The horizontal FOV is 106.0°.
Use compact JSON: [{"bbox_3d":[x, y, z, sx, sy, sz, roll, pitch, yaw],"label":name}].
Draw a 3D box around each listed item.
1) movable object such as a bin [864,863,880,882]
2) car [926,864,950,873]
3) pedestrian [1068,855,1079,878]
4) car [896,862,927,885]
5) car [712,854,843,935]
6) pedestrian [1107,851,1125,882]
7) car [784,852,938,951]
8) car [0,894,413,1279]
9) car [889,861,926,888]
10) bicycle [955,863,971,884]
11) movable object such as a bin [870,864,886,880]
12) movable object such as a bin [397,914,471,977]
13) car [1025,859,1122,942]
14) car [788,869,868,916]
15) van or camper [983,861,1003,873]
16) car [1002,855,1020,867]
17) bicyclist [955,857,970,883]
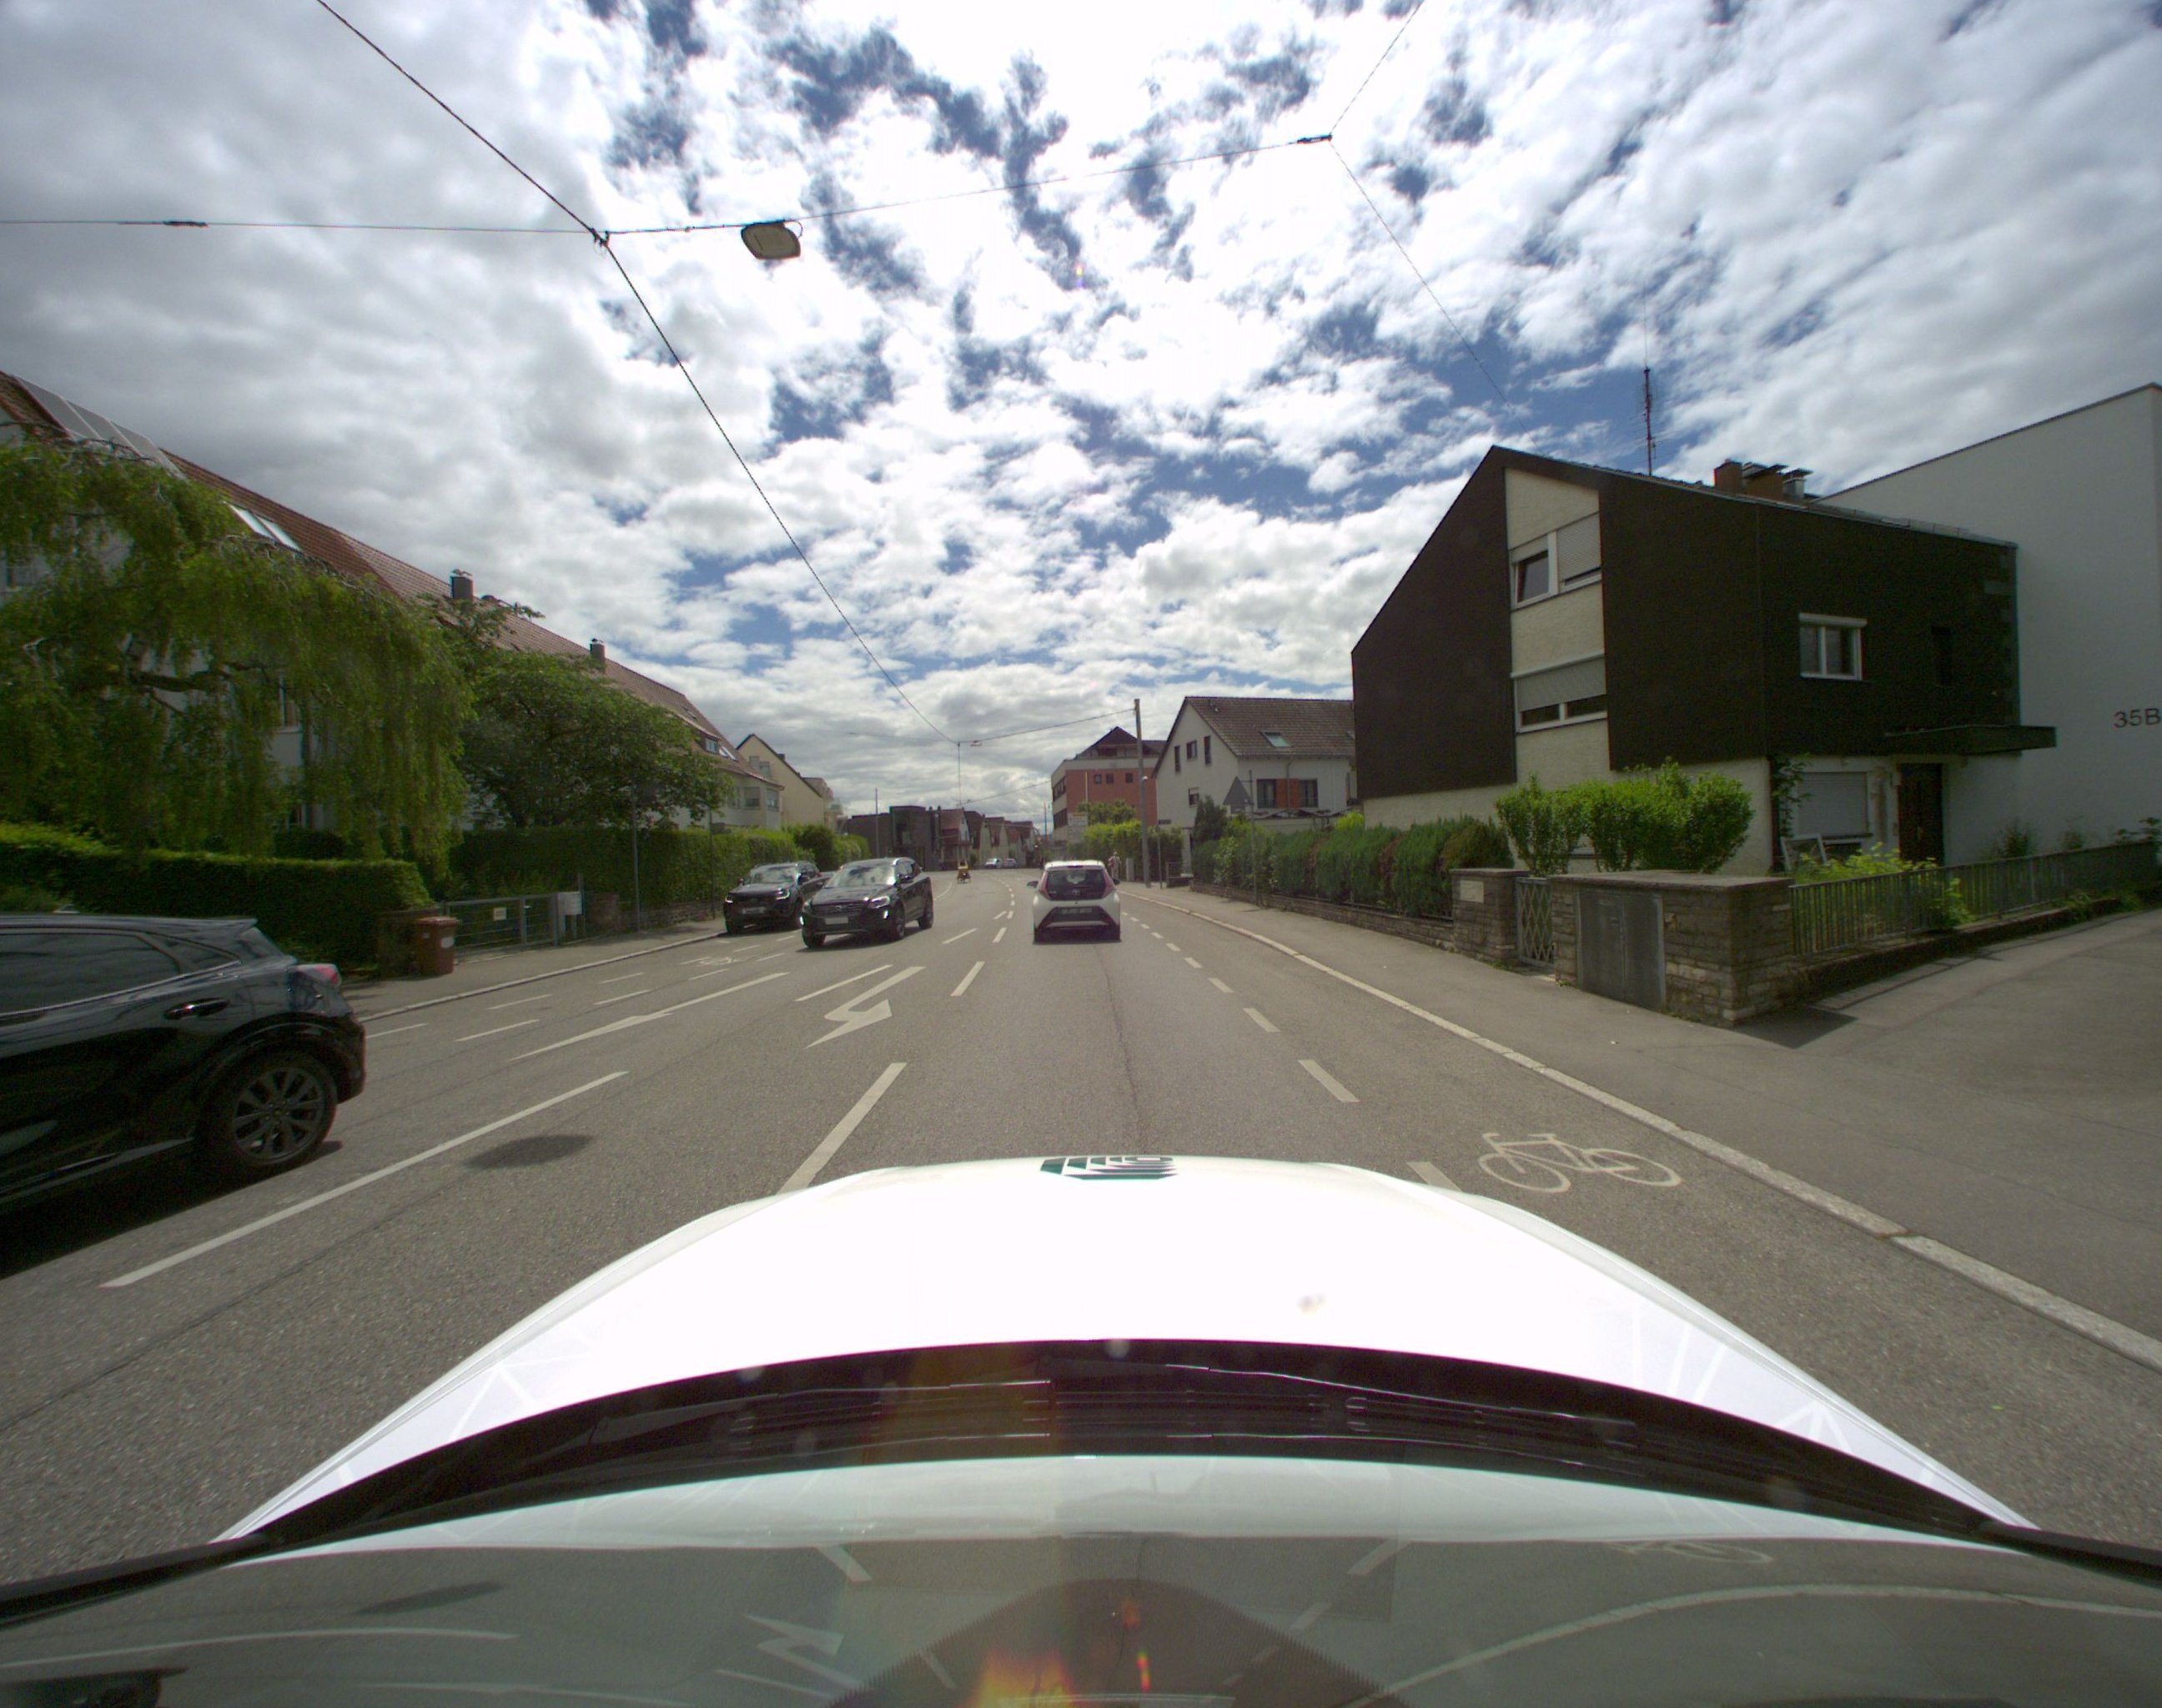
[{"bbox_3d":[-17.223,1.496,67.167,1.065,1.482,1.210,-2,0,-10],"label":"movable object such as a bin"},{"bbox_3d":[-24.235,2.467,137.882,3.599,1.605,1.693,-1,-1,3],"label":"car"},{"bbox_3d":[-0.505,0.869,57.406,0.602,1.605,0.834,-4,0,-6],"label":"pedestrian"},{"bbox_3d":[-12.570,1.406,60.490,1.993,1.587,4.474,-3,0,-9],"label":"car"},{"bbox_3d":[-8.489,1.044,23.353,1.990,1.895,5.394,-4,0,-5],"label":"car"},{"bbox_3d":[1.894,0.657,44.041,0.798,1.617,0.652,-4,0,-7],"label":"pedestrian"},{"bbox_3d":[-4.474,0.894,17.323,1.910,1.648,4.294,-6,0,0],"label":"car"},{"bbox_3d":[-5.190,1.016,3.080,1.690,1.456,4.119,-4,-1,3],"label":"car"},{"bbox_3d":[-11.749,1.341,55.333,1.992,1.650,4.505,-3,0,-8],"label":"car"},{"bbox_3d":[-8.107,1.334,56.033,0.862,1.301,2.658,-2,0,-4],"label":"bicycle"},{"bbox_3d":[-17.042,1.495,68.475,1.064,1.313,1.211,-2,0,-6],"label":"movable object such as a bin"},{"bbox_3d":[-10.597,1.492,13.358,0.675,0.945,0.645,-1,0,-2],"label":"movable object such as a bin"},{"bbox_3d":[-0.144,0.836,16.034,1.692,1.456,3.298,-1,-1,-1],"label":"car"},{"bbox_3d":[-8.814,1.289,28.757,1.775,1.417,4.331,-3,0,-5],"label":"car"},{"bbox_3d":[-14.331,2.099,133.231,2.104,1.926,5.296,-1,-1,7],"label":"van or camper"},{"bbox_3d":[-10.875,1.084,126.954,1.983,1.904,4.007,-1,-1,7],"label":"car"},{"bbox_3d":[-8.141,1.091,56.004,0.790,1.713,1.207,-2,0,-3],"label":"bicyclist"}]
